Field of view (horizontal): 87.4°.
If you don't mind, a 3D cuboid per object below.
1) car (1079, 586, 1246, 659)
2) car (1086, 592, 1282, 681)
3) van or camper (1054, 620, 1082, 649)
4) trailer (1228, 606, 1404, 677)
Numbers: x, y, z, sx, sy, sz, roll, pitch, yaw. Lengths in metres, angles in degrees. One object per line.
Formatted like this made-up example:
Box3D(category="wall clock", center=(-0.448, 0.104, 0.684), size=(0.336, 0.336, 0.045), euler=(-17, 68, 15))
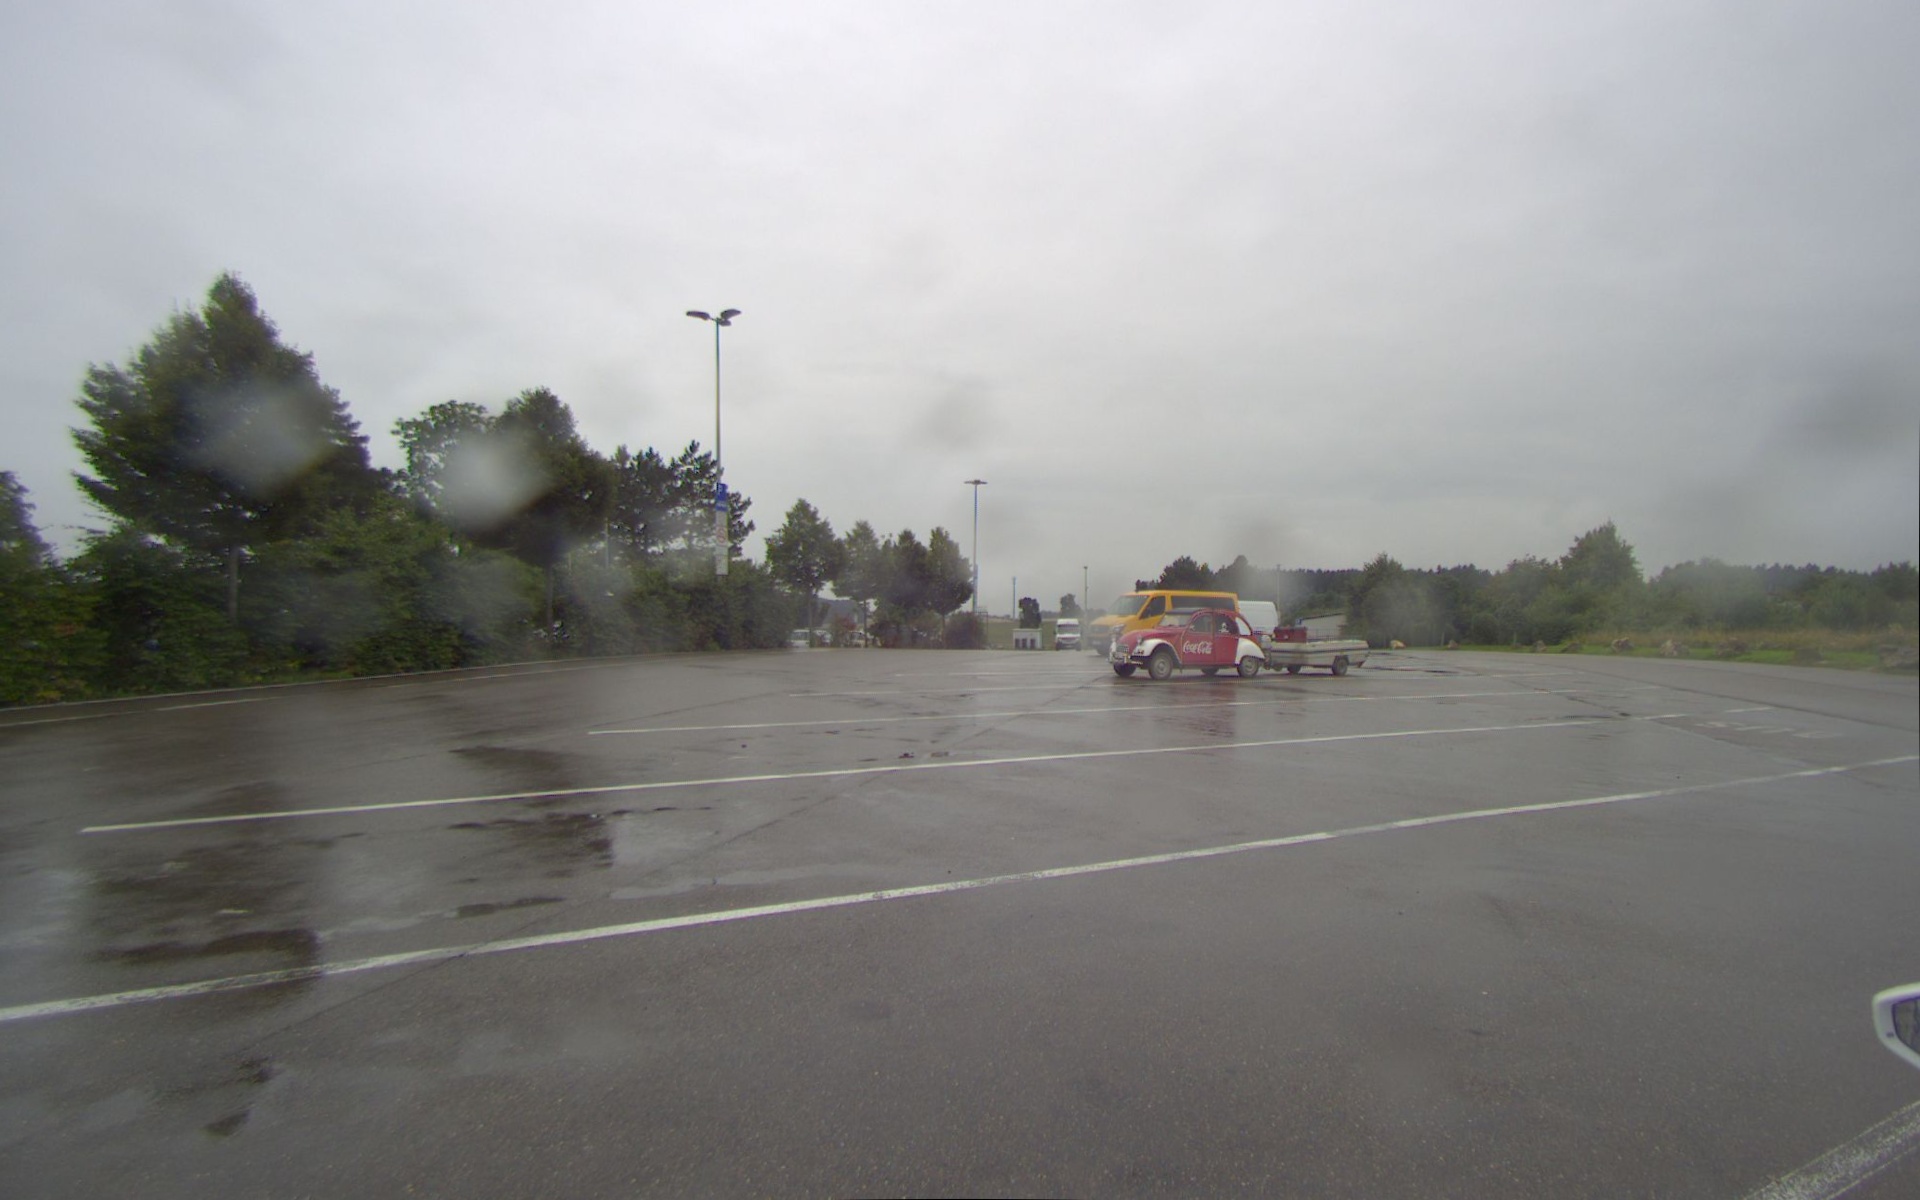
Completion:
Box3D(category="car", center=(7.193, 0.848, 35.402), size=(5.955, 2.411, 1.985), euler=(2, -3, -30))
Box3D(category="car", center=(4.903, 0.789, 21.975), size=(3.948, 1.800, 1.816), euler=(1, -2, -27))
Box3D(category="van or camper", center=(8.369, 2.706, 78.409), size=(1.960, 2.195, 4.002), euler=(0, -2, 3))
Box3D(category="trailer", center=(8.429, 0.953, 23.780), size=(3.948, 1.553, 1.689), euler=(1, -2, -27))
